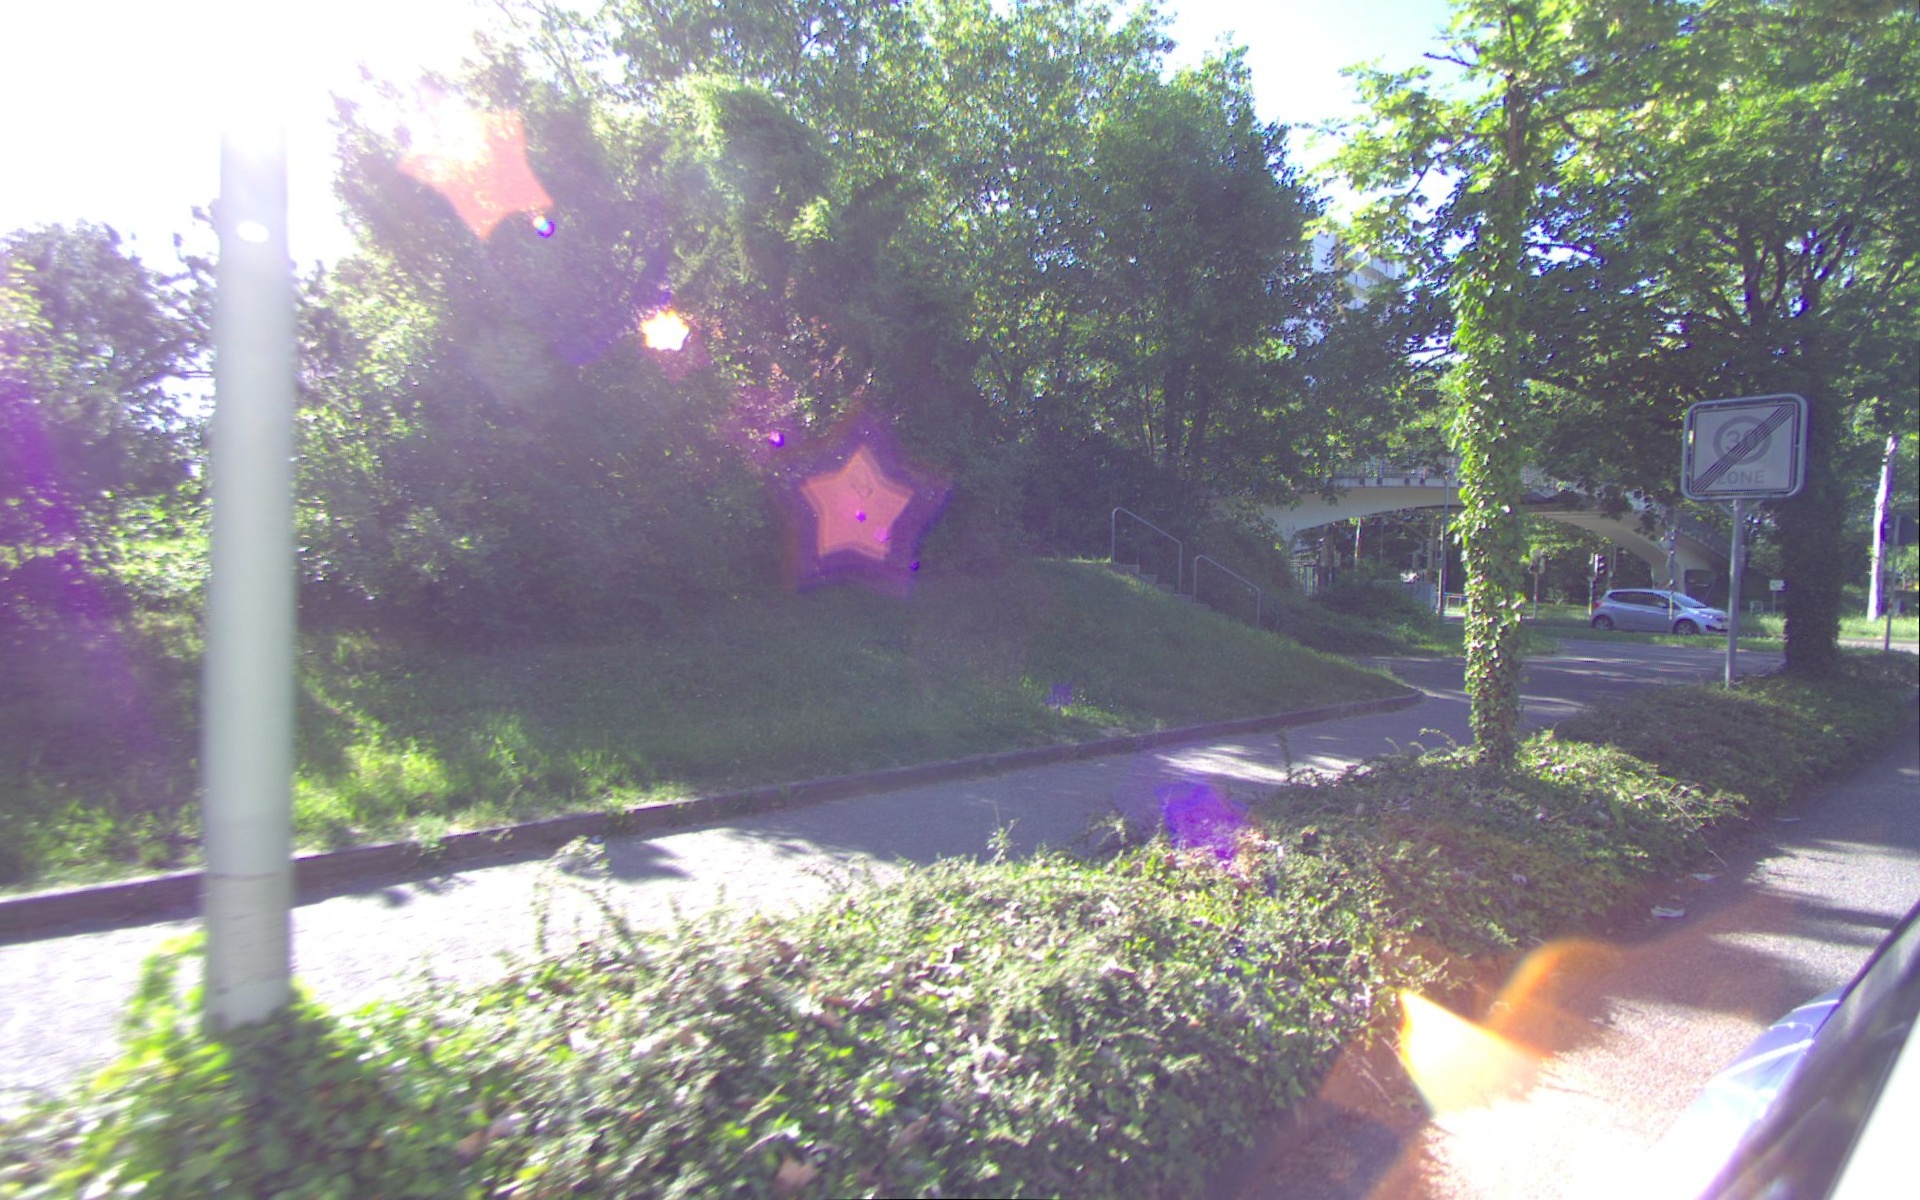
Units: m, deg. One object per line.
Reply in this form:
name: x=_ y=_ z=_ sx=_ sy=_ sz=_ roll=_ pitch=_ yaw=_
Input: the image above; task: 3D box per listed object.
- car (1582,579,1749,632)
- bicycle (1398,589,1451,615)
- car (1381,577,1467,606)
car: x=23.627 y=0.172 z=34.070 sx=1.685 sy=1.667 sz=4.340 roll=-1 pitch=0 yaw=-27
bicycle: x=16.911 y=0.052 z=36.874 sx=0.451 sy=0.924 sz=1.717 roll=0 pitch=0 yaw=-39
car: x=27.599 y=-0.488 z=60.307 sx=1.688 sy=1.667 sz=4.331 roll=-1 pitch=0 yaw=-37
